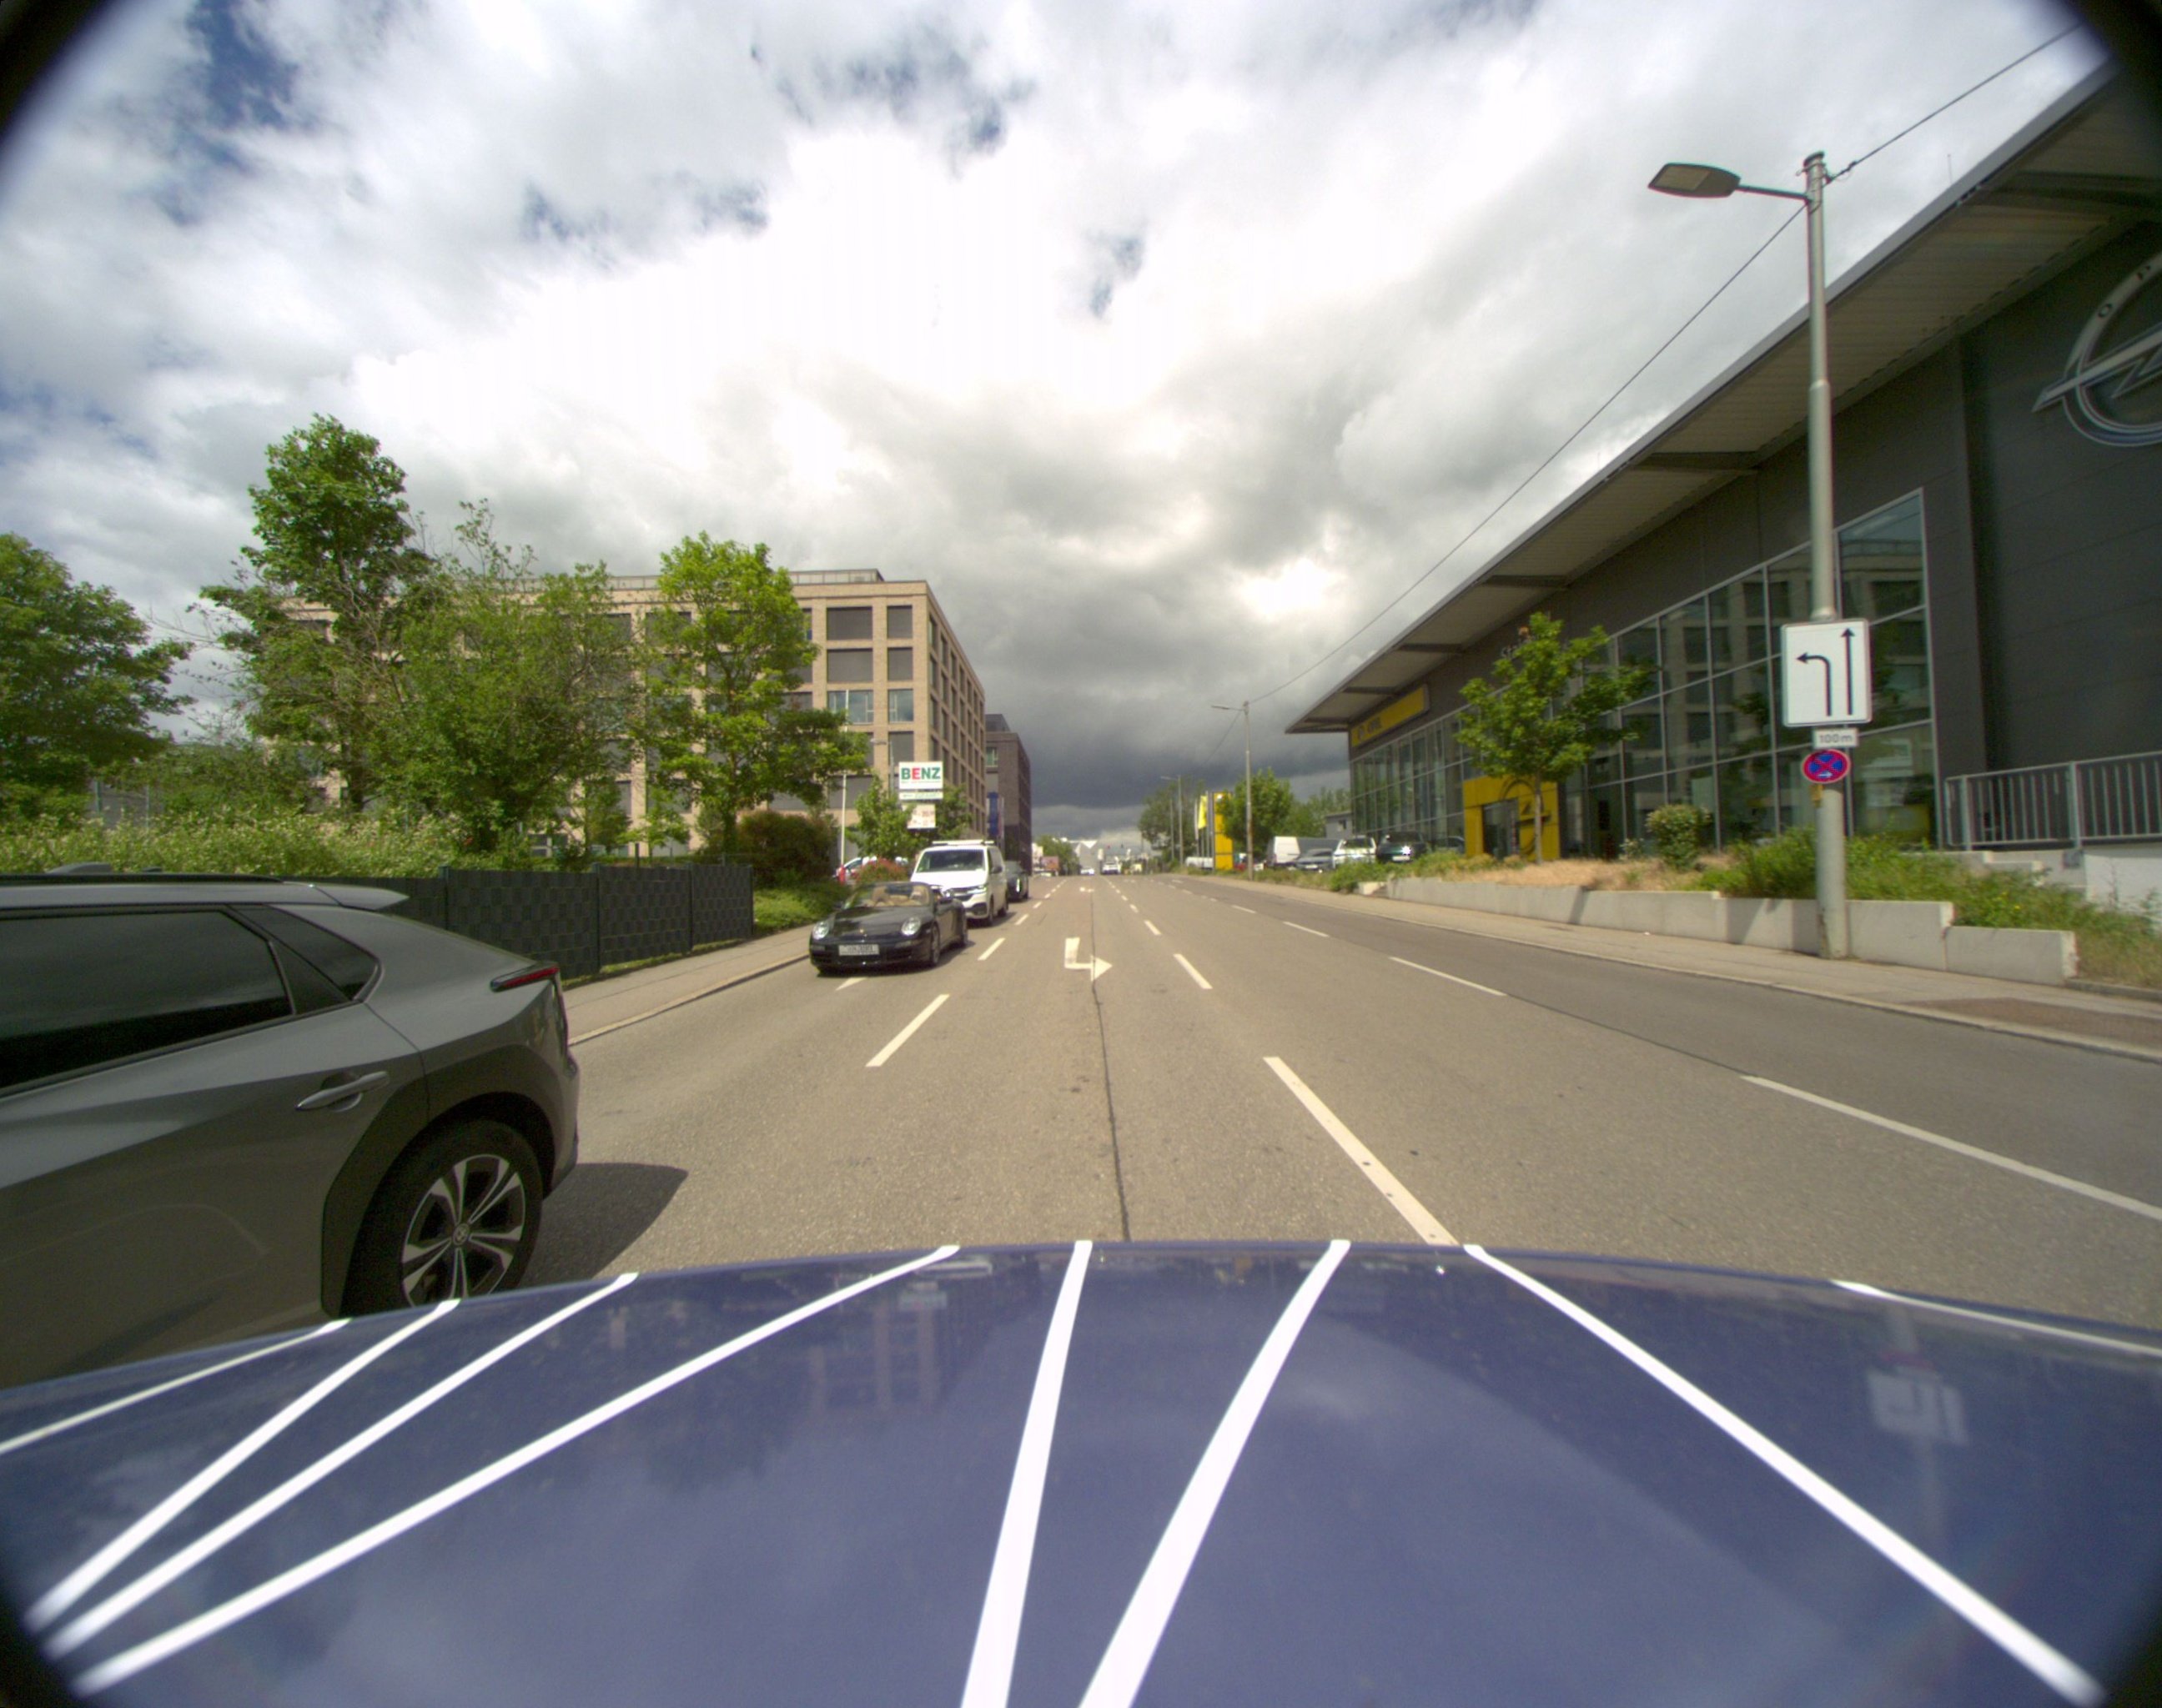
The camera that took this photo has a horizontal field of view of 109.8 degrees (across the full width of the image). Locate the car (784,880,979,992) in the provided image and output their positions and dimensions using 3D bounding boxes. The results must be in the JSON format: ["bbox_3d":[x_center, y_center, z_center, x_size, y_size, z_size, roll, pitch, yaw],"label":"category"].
[{"bbox_3d":[-2.945,1.162,12.332,1.777,1.267,4.569,-3,0,2],"label":"car"}]

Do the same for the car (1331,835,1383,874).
[{"bbox_3d":[12.248,0.022,33.563,1.793,1.604,4.115,-1,1,25],"label":"car"}]

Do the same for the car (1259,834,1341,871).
[{"bbox_3d":[13.732,-0.109,47.857,4.532,2.182,2.179,-1,1,-2],"label":"car"}]

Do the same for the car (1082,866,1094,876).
[{"bbox_3d":[1.104,2.560,117.468,1.866,1.398,4.000,-1,0,1],"label":"car"}]

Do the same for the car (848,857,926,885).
[{"bbox_3d":[-11.560,0.992,45.479,4.220,1.567,1.735,-1,0,-4],"label":"car"}]

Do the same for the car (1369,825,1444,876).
[{"bbox_3d":[12.333,-0.119,28.648,1.818,1.603,4.117,-8,-4,31],"label":"car"}]

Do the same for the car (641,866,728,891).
[{"bbox_3d":[-23.384,1.445,44.887,4.219,1.410,1.735,-1,0,-1],"label":"car"}]

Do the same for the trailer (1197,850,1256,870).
[{"bbox_3d":[13.139,0.500,68.707,4.835,1.742,2.095,-1,0,-3],"label":"trailer"}]

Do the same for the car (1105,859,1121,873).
[{"bbox_3d":[4.053,1.469,96.555,1.924,1.604,4.415,-1,0,1],"label":"car"}]

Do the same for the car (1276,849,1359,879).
[{"bbox_3d":[13.329,0.575,43.010,4.108,1.604,1.797,-1,0,-8],"label":"car"}]

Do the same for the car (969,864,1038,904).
[{"bbox_3d":[-2.782,1.050,28.194,1.777,1.267,4.569,-1,0,4],"label":"car"}]

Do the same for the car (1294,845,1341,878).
[{"bbox_3d":[12.196,0.360,39.076,1.794,1.604,4.116,-1,0,24],"label":"car"}]

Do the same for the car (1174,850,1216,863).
[{"bbox_3d":[12.625,0.274,84.388,4.252,1.473,2.095,-1,0,-2],"label":"car"}]

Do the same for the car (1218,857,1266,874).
[{"bbox_3d":[13.700,0.984,64.793,3.669,1.401,1.815,-1,0,2],"label":"car"}]

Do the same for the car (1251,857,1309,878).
[{"bbox_3d":[14.955,1.024,57.283,3.946,1.518,1.561,-1,0,-2],"label":"car"}]

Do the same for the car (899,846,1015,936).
[{"bbox_3d":[-2.890,0.805,18.739,1.964,1.840,4.645,-3,0,1],"label":"car"}]

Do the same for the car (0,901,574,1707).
[{"bbox_3d":[-3.005,1.022,0.624,1.924,1.604,4.683,-3,0,1],"label":"car"}]
